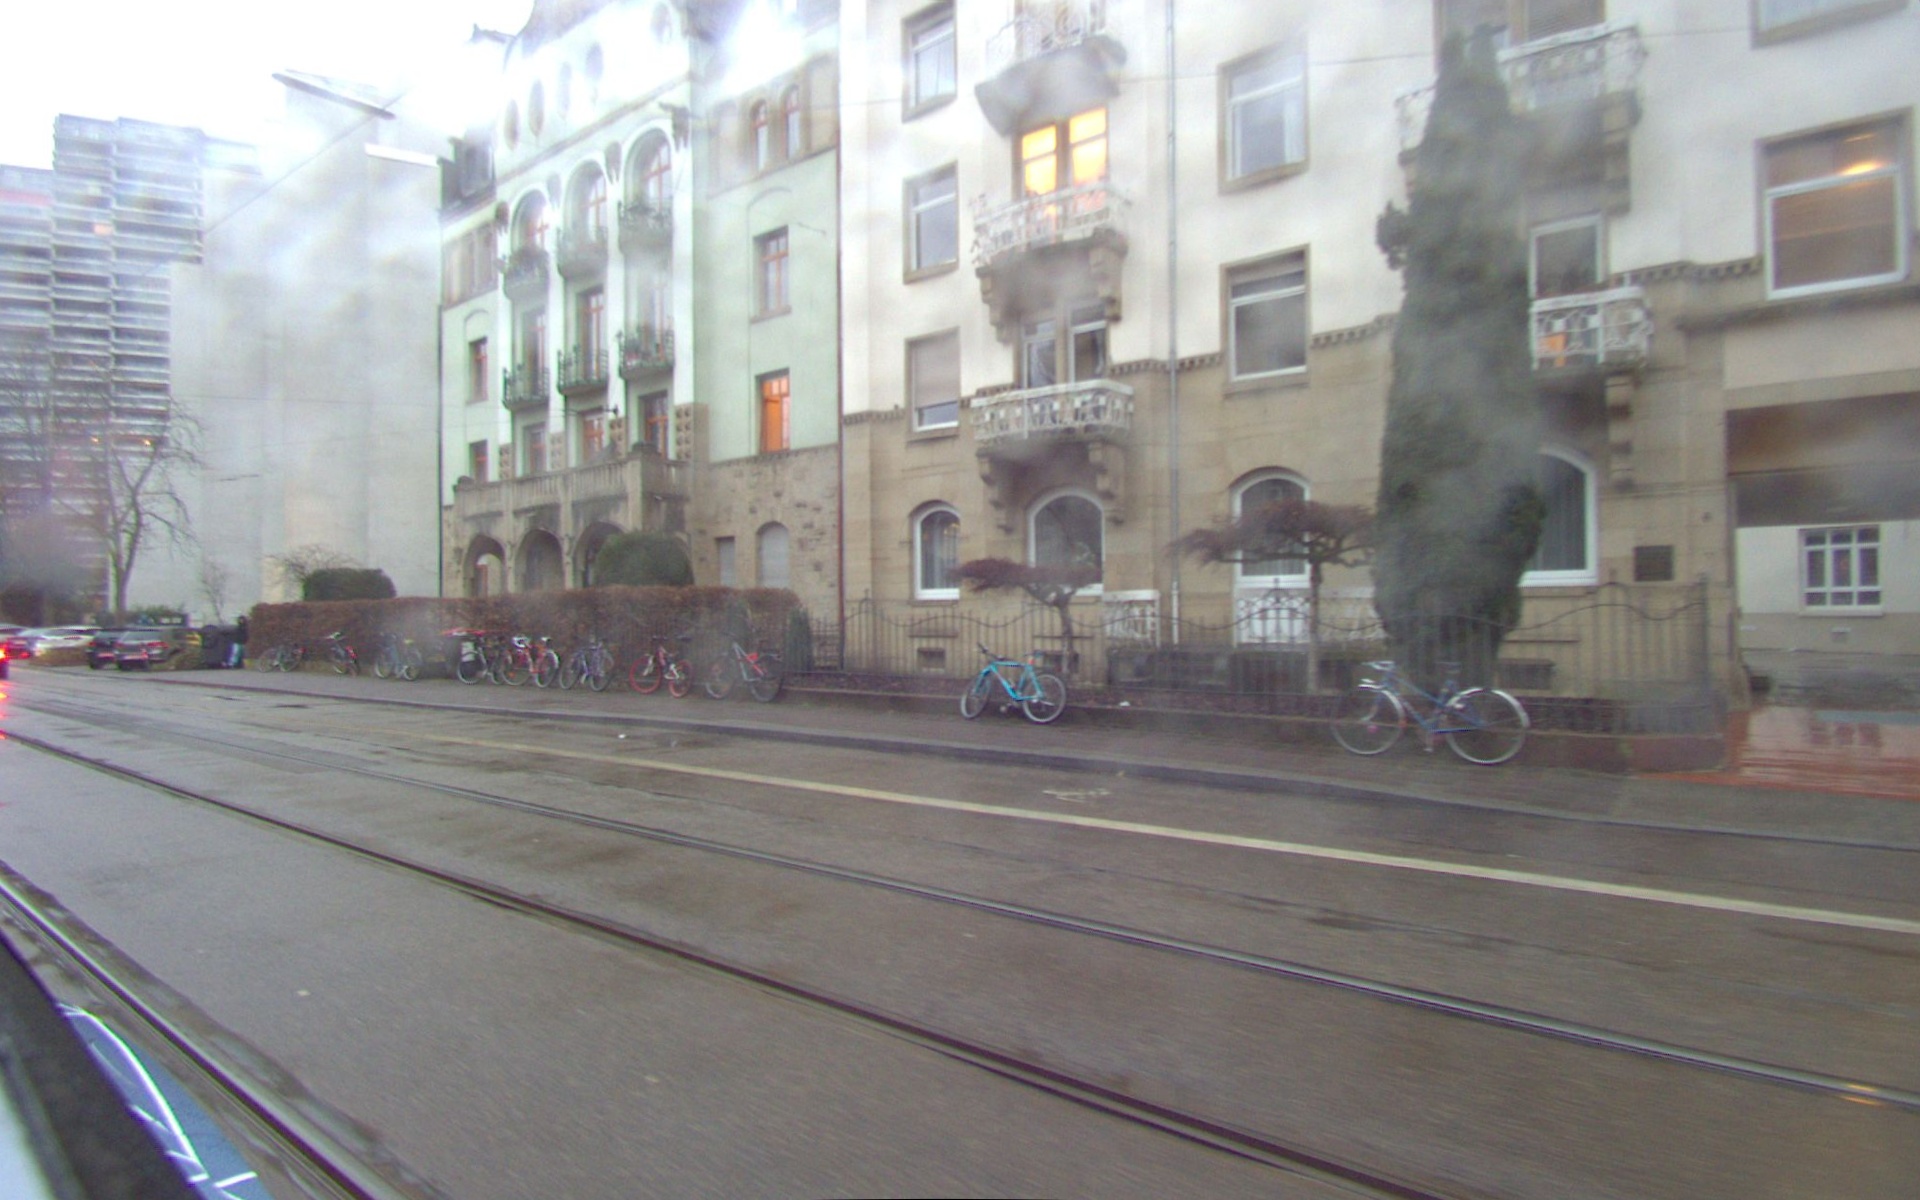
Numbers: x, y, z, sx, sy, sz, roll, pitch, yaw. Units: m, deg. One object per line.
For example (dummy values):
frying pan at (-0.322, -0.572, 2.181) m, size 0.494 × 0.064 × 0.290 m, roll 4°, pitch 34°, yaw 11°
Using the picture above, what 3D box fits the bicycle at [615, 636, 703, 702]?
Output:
bicycle at (-5.179, 1.156, 17.361) m, size 1.725 × 1.073 × 0.617 m, roll -2°, pitch -2°, yaw 41°

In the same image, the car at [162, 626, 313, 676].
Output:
car at (-23.996, 1.667, 33.787) m, size 1.848 × 1.505 × 3.988 m, roll -1°, pitch -1°, yaw 9°

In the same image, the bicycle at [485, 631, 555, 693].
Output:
bicycle at (-8.732, 1.208, 20.072) m, size 1.661 × 1.173 × 0.617 m, roll -2°, pitch -2°, yaw 41°

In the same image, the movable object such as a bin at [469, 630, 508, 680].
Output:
movable object such as a bin at (-11.185, 1.293, 23.988) m, size 0.674 × 1.173 × 0.617 m, roll -2°, pitch -2°, yaw 41°

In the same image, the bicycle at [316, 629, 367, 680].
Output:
bicycle at (-15.568, 1.359, 25.459) m, size 1.661 × 1.221 × 0.617 m, roll -2°, pitch -2°, yaw 41°

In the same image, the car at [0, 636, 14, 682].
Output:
car at (-28.332, 1.666, 28.886) m, size 1.685 × 1.262 × 3.672 m, roll 1°, pitch -2°, yaw -40°

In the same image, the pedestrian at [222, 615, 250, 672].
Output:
pedestrian at (-22.476, 1.342, 31.404) m, size 0.644 × 1.738 × 0.567 m, roll 0°, pitch 1°, yaw 42°

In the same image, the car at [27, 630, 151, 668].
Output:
car at (-36.878, 2.038, 42.979) m, size 1.843 × 1.460 × 3.998 m, roll -1°, pitch -1°, yaw 1°

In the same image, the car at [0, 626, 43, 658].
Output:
car at (-50.146, 2.174, 52.306) m, size 1.843 × 1.608 × 3.998 m, roll -1°, pitch -1°, yaw 1°

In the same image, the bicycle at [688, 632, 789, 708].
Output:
bicycle at (-3.533, 1.082, 16.090) m, size 1.782 × 1.134 × 0.617 m, roll -2°, pitch -2°, yaw 41°

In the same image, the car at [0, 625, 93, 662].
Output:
car at (-42.563, 1.972, 46.609) m, size 1.843 × 1.608 × 3.998 m, roll -1°, pitch -1°, yaw 1°

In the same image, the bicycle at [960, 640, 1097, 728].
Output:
bicycle at (0.833, 1.021, 12.667) m, size 1.661 × 1.010 × 0.617 m, roll -2°, pitch -2°, yaw 41°

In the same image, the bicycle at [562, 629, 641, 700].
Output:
bicycle at (-6.539, 1.156, 18.432) m, size 1.661 × 1.221 × 0.617 m, roll -2°, pitch -2°, yaw 41°

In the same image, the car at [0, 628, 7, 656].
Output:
car at (-54.681, 2.347, 55.079) m, size 1.843 × 1.608 × 3.998 m, roll -1°, pitch -1°, yaw 1°

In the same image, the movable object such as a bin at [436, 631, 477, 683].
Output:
movable object such as a bin at (-11.687, 1.304, 23.484) m, size 0.674 × 1.173 × 0.651 m, roll -2°, pitch -2°, yaw 41°

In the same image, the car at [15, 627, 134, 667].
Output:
car at (-39.592, 2.062, 45.387) m, size 1.843 × 1.608 × 3.998 m, roll -1°, pitch -1°, yaw 1°

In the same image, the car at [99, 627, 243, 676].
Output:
car at (-26.616, 1.688, 34.327) m, size 1.740 × 1.497 × 3.998 m, roll -1°, pitch -1°, yaw 1°

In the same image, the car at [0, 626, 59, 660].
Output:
car at (-47.693, 2.133, 50.561) m, size 1.843 × 1.608 × 3.998 m, roll -1°, pitch -1°, yaw 1°

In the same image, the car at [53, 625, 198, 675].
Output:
car at (-29.368, 1.721, 35.782) m, size 1.843 × 1.608 × 3.998 m, roll -1°, pitch -1°, yaw 1°

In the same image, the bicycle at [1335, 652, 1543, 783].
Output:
bicycle at (4.507, 1.060, 9.591) m, size 1.661 × 1.101 × 0.617 m, roll -2°, pitch -2°, yaw 41°

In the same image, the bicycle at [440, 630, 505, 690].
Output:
bicycle at (-10.299, 1.250, 21.365) m, size 1.661 × 1.221 × 0.617 m, roll -2°, pitch -2°, yaw 41°

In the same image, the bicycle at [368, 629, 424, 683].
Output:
bicycle at (-13.301, 1.307, 23.865) m, size 1.661 × 1.221 × 0.617 m, roll -2°, pitch -2°, yaw 41°

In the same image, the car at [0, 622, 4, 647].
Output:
car at (-62.476, 2.231, 63.192) m, size 1.843 × 1.608 × 3.998 m, roll -1°, pitch -1°, yaw 1°

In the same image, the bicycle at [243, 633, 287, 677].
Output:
bicycle at (-19.506, 1.521, 28.395) m, size 1.661 × 1.173 × 0.617 m, roll -2°, pitch -1°, yaw 41°
